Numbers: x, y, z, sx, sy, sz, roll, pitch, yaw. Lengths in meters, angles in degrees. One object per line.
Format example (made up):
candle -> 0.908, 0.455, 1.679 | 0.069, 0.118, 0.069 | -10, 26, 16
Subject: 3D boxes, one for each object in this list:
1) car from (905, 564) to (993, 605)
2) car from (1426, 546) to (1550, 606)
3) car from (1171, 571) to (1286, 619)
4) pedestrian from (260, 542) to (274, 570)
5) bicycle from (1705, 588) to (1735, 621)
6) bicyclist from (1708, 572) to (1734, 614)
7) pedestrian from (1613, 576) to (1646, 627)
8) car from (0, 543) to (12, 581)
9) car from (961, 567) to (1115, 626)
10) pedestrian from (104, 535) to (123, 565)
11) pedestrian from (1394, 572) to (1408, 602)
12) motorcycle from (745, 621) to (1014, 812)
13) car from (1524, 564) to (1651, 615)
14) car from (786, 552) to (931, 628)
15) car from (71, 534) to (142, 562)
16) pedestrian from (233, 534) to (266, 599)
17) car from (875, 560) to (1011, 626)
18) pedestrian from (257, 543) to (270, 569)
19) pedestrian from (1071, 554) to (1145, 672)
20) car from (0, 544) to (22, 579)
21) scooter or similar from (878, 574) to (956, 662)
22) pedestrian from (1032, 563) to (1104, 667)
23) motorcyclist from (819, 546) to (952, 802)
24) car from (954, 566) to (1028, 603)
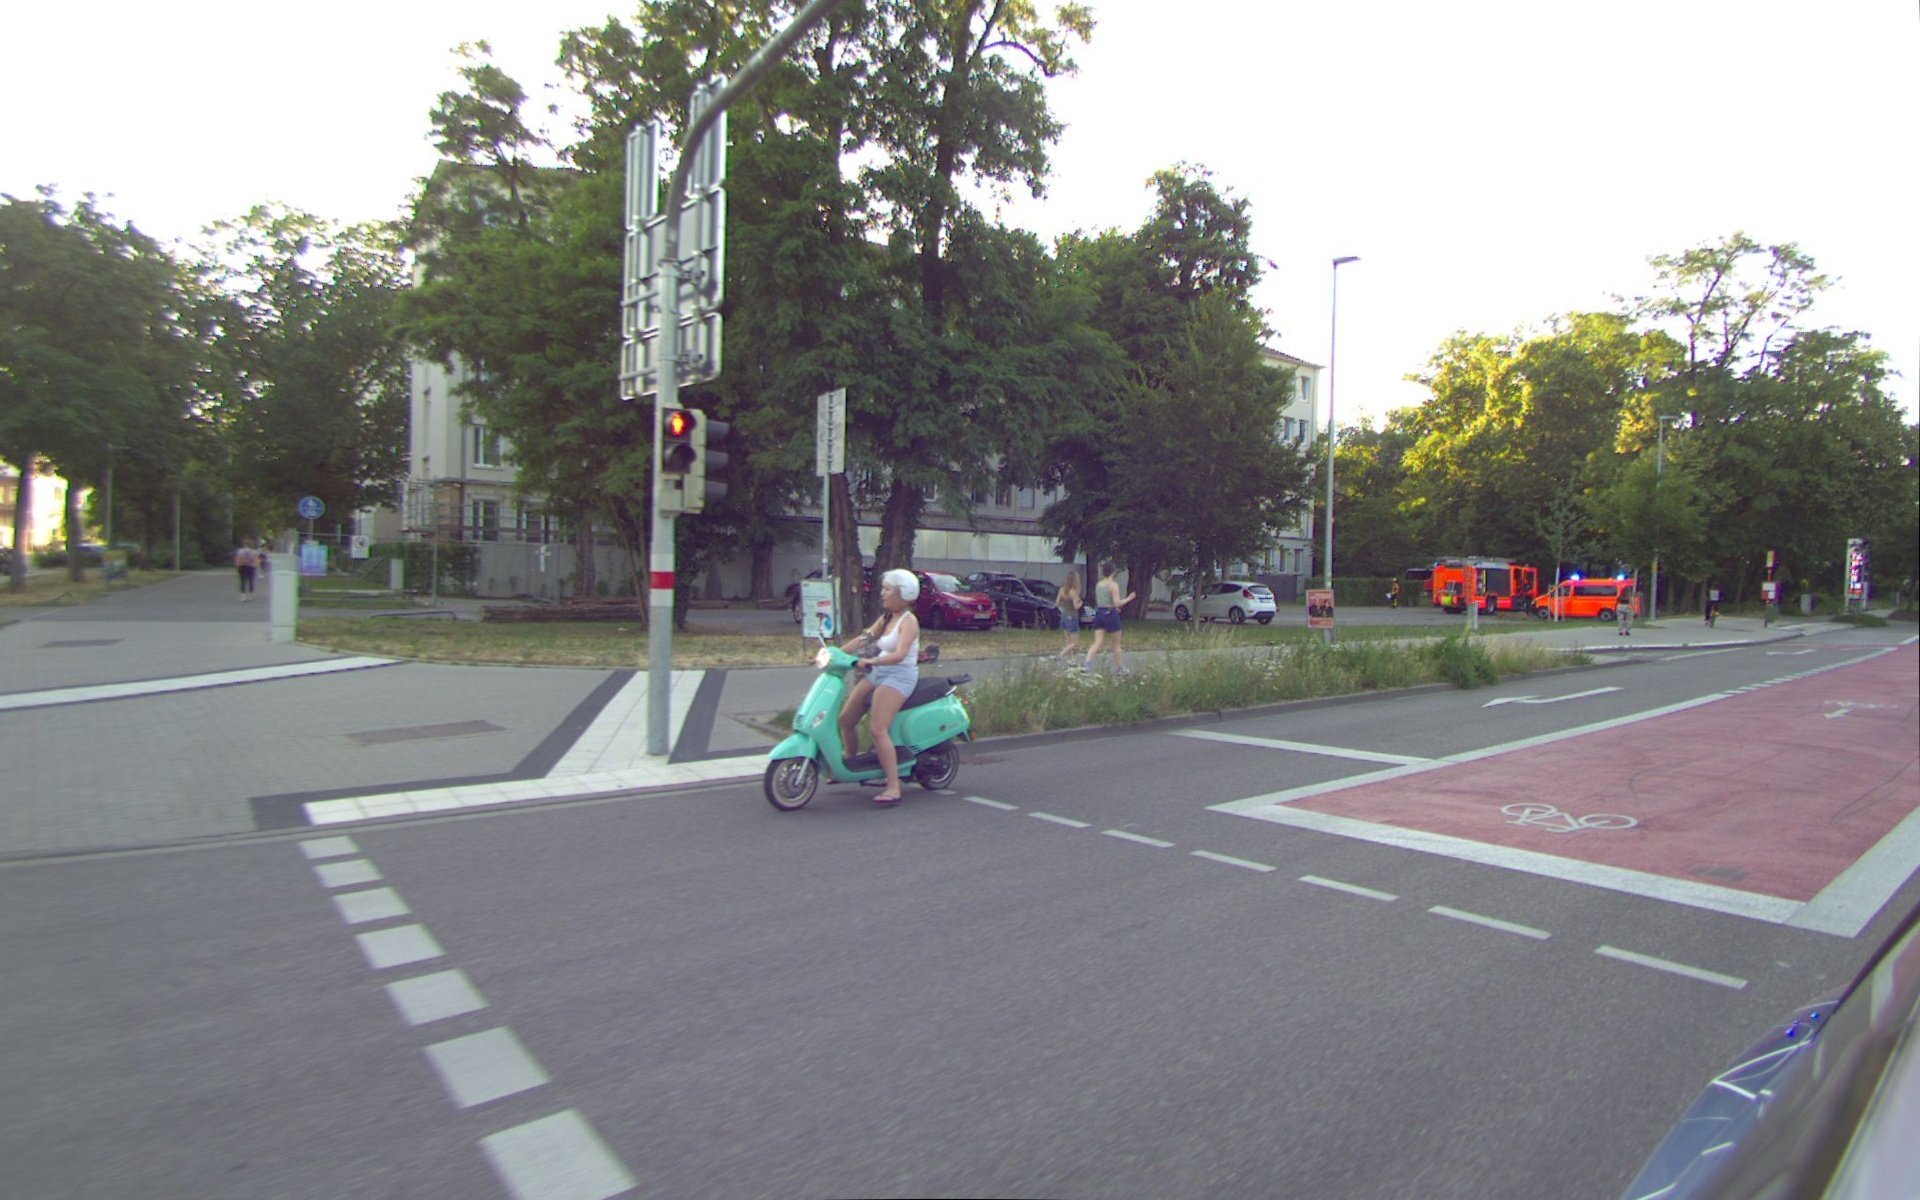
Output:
car -> -0.527, -0.656, 42.066 | 1.880, 1.540, 3.921 | 0, 2, -32
car -> 30.378, -1.352, 58.056 | 8.139, 3.283, 2.775 | 0, 2, -35
car -> 9.303, -0.208, 35.285 | 1.633, 1.477, 3.667 | 0, 2, -36
pedestrian -> -41.178, -2.590, 60.146 | 0.670, 1.642, 0.688 | 0, 2, -36
bicycle -> 30.527, 0.170, 40.650 | 1.866, 1.256, 0.571 | 0, 2, -41
bicyclist -> 30.604, -0.276, 40.696 | 1.020, 1.652, 0.571 | 0, 2, -41
pedestrian -> 21.880, 0.052, 33.079 | 0.676, 1.642, 0.682 | 1, 1, -41
car -> -43.926, -1.712, 45.107 | 1.963, 1.660, 4.000 | 0, 2, -37
car -> 2.169, -0.161, 29.382 | 1.884, 1.482, 4.519 | 0, 2, -38
pedestrian -> -47.174, -2.773, 56.414 | 0.674, 1.642, 0.684 | 1, 2, -29
pedestrian -> 27.561, -0.830, 63.258 | 0.678, 1.864, 0.836 | 3, 1, 31
motorcycle -> -0.562, 0.782, 7.443 | 1.857, 1.212, 0.685 | 1, 1, -34
car -> 32.221, -0.582, 52.101 | 1.963, 2.422, 5.167 | 0, 2, -38
car -> -2.722, -0.312, 26.231 | 1.882, 1.761, 4.240 | 0, 2, -35
car -> -61.492, -3.724, 72.957 | 3.746, 1.804, 1.930 | -5, 3, -41
pedestrian -> -19.669, -0.930, 28.041 | 0.690, 1.760, 0.897 | 1, 2, -32
car -> -0.549, -0.250, 27.976 | 1.882, 1.630, 4.003 | 0, 2, -34
pedestrian -> -44.843, -2.833, 65.133 | 0.670, 1.642, 0.688 | 0, 2, -36
pedestrian -> 2.182, 0.173, 14.927 | 0.763, 1.680, 0.720 | 0, 2, -41
car -> -47.423, -1.924, 49.394 | 1.963, 1.660, 4.000 | 0, 2, -37
scooter or similar -> -0.651, 0.264, 15.506 | 1.159, 1.287, 0.441 | 0, 2, -42
pedestrian -> 1.675, 0.211, 15.694 | 0.775, 1.541, 0.736 | 0, 2, -40
motorcyclist -> -0.556, 0.503, 7.446 | 0.677, 1.759, 0.741 | 1, 1, -33
car -> 1.282, -0.698, 43.473 | 1.734, 1.477, 3.320 | 1, 2, -28
